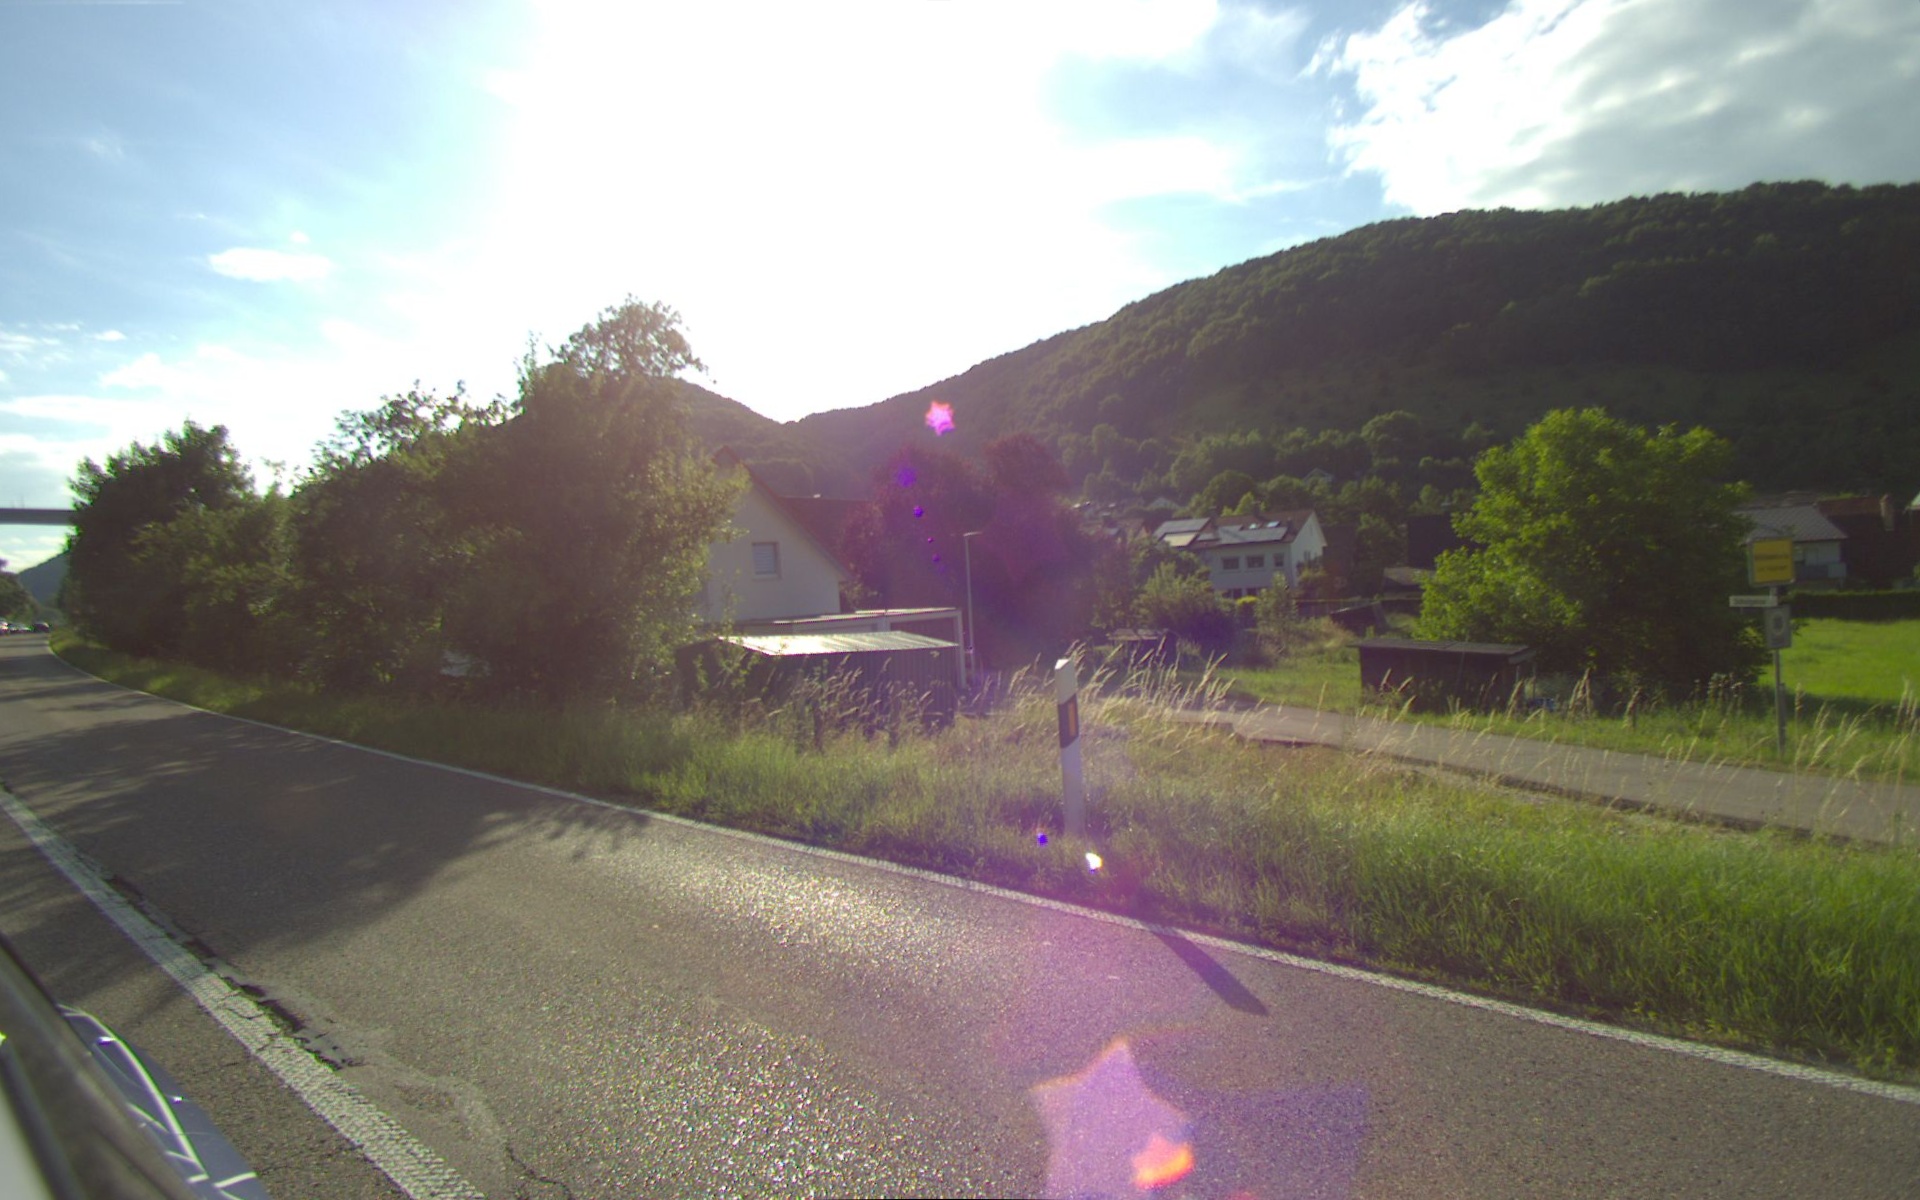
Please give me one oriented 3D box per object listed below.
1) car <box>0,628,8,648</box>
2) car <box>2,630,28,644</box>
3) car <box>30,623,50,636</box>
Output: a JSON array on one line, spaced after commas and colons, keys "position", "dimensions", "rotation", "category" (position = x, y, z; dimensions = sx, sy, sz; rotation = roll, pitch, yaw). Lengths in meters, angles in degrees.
[{"position": [-79.424, 3.078, 83.002], "dimensions": [1.792, 1.630, 4.005], "rotation": [1, -2, -42], "category": "car"}, {"position": [-110.233, 4.283, 118.044], "dimensions": [1.813, 1.564, 4.186], "rotation": [1, -2, -38], "category": "car"}, {"position": [-121.968, 3.932, 134.133], "dimensions": [1.793, 1.630, 3.808], "rotation": [1, -2, -44], "category": "car"}]
